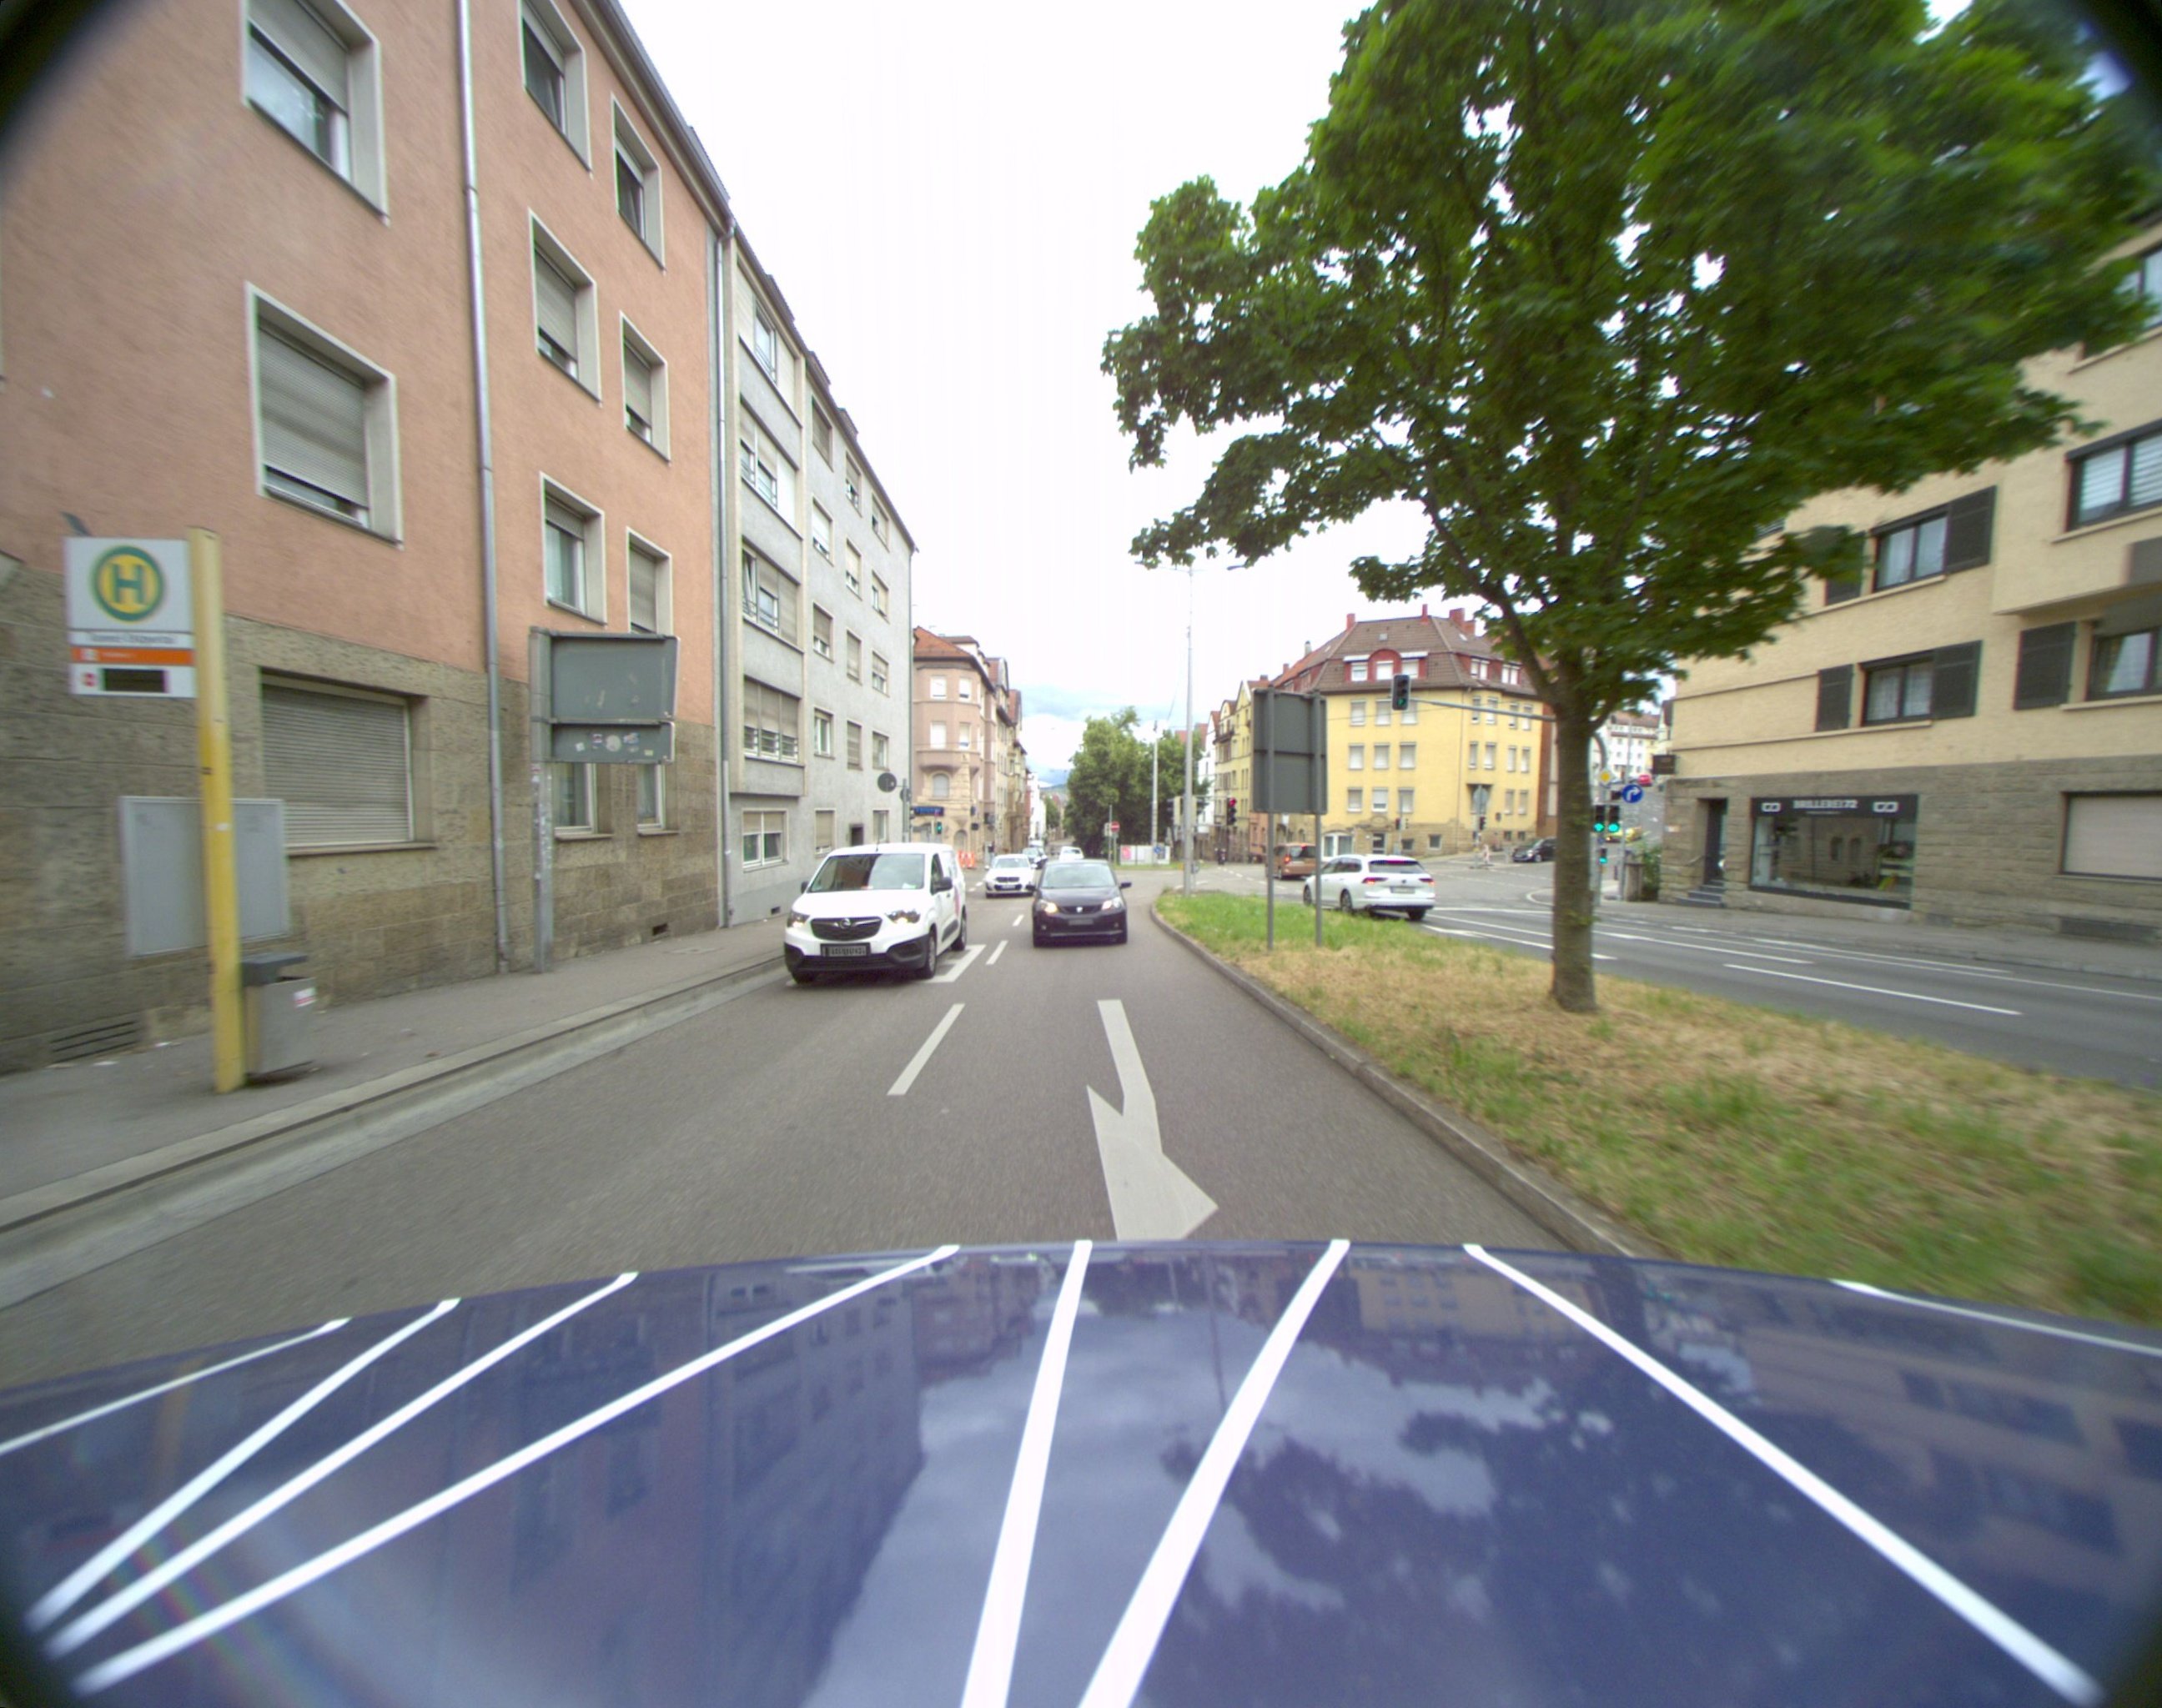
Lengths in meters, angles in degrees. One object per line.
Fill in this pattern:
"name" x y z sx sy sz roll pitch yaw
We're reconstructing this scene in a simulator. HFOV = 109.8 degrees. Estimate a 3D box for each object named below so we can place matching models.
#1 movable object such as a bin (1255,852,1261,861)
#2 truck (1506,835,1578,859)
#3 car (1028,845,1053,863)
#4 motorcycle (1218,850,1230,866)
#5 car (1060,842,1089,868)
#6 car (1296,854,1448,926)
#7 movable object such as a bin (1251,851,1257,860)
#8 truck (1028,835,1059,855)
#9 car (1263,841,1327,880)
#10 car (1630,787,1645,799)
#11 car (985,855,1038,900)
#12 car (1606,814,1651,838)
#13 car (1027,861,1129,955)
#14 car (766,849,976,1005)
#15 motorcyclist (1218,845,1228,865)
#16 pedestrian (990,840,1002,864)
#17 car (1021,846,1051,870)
"movable object such as a bin" 16.666 0.211 71.682 0.487 0.860 0.448 1 1 4
"truck" 29.046 -0.473 47.854 4.004 1.410 1.849 -1 1 -22
"car" -3.387 -0.028 64.107 1.841 1.477 4.000 1 1 1
"motorcycle" 10.840 0.306 57.658 0.546 1.178 2.204 0 2 1
"car" -0.482 0.066 53.100 1.784 1.584 3.531 3 2 -3
"car" 6.693 0.749 18.086 1.750 1.459 4.584 0 1 -1
"movable object such as a bin" 16.752 0.188 73.537 0.487 0.860 0.448 1 1 4
"truck" -5.476 -1.317 113.165 2.550 2.891 7.784 1 1 13
"car" 10.452 0.338 37.423 1.884 1.805 4.352 0 -1 0
"car" 90.417 -9.850 123.509 1.858 1.711 3.863 1 1 35
"car" -2.707 0.883 30.537 1.780 1.598 4.162 -2 0 -1
"car" 41.728 -2.116 57.876 3.863 1.711 1.858 0 1 -39
"car" -0.100 0.888 14.141 1.604 1.448 3.684 -1 0 -2
"car" -2.777 0.832 11.297 1.789 1.779 4.843 -1 1 -1
"motorcyclist" 10.827 0.079 57.857 0.674 1.467 0.662 0 2 1
"pedestrian" -5.877 -0.161 52.709 0.735 1.638 1.004 -1 1 -3
"car" -2.980 0.255 50.724 1.780 1.434 4.162 -2 0 -1
